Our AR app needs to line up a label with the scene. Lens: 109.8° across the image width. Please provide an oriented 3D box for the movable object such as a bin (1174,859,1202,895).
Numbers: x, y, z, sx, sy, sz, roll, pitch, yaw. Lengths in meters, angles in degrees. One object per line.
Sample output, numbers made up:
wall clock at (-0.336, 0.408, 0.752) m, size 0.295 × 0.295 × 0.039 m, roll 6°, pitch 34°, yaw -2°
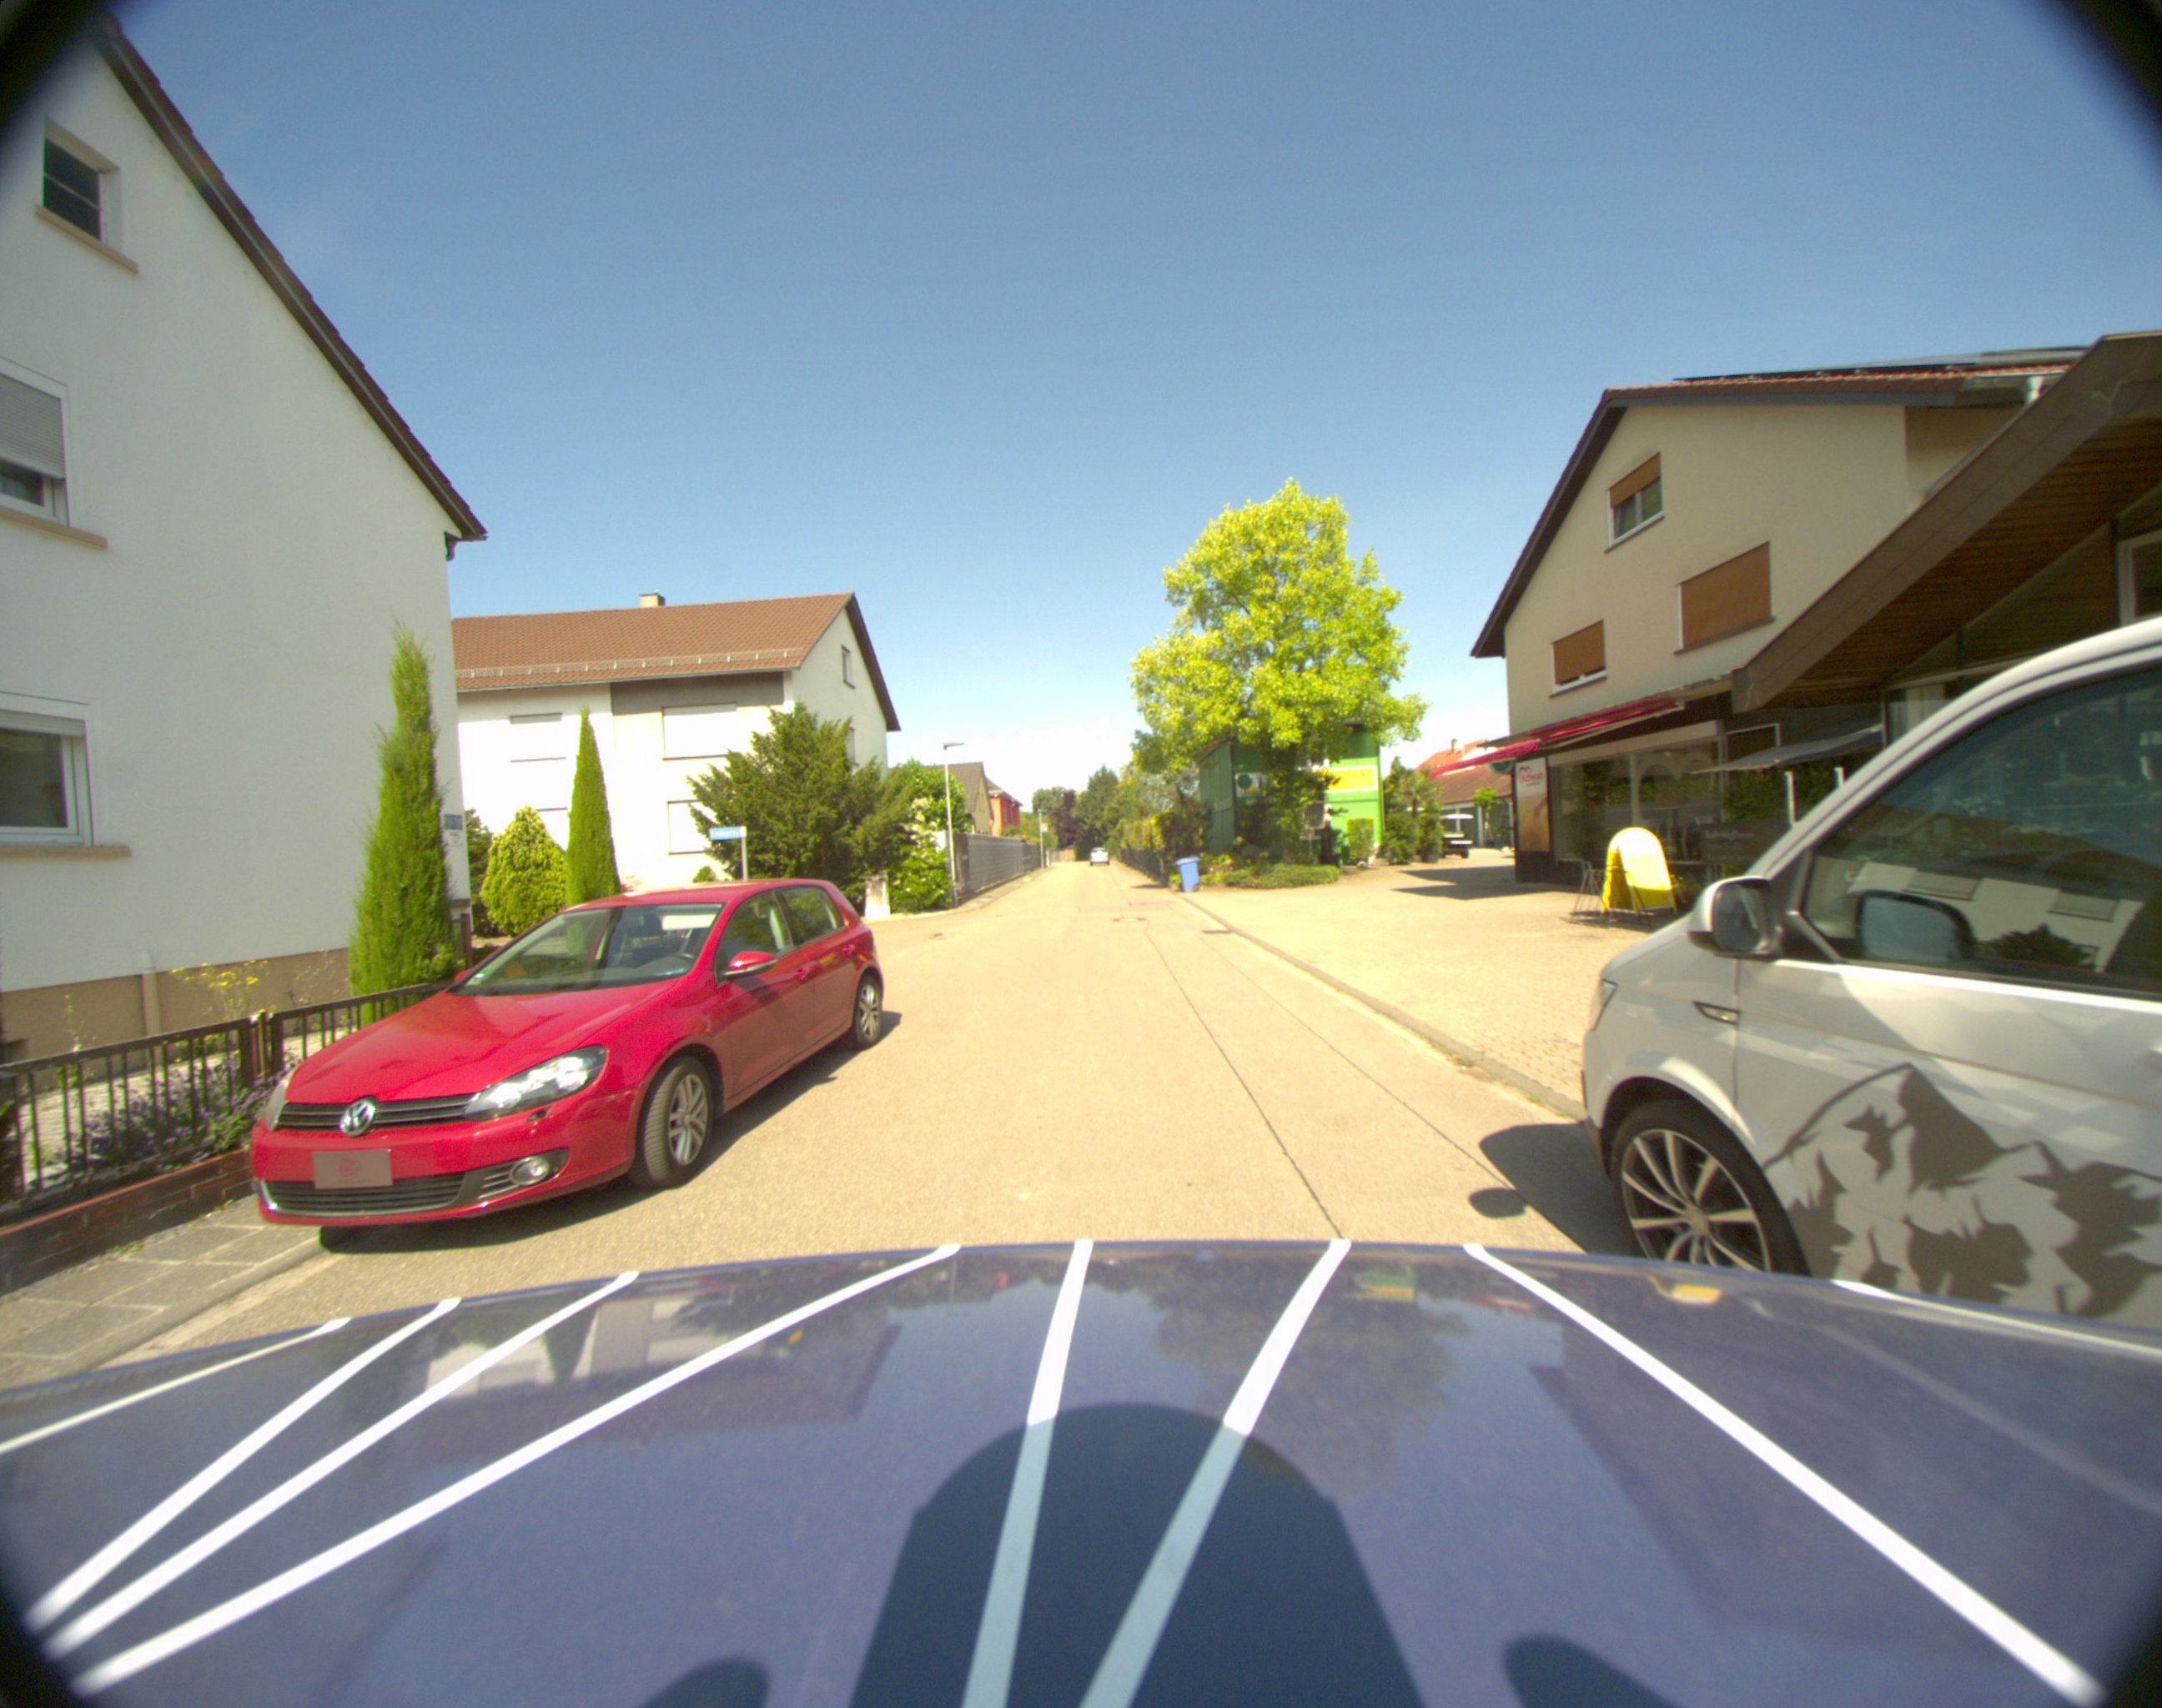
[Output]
movable object such as a bin at (3.433, 0.729, 24.379) m, size 0.732 × 1.048 × 0.612 m, roll -5°, pitch 1°, yaw 1°

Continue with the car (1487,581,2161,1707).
car at (2.540, 0.558, 0.605) m, size 1.933 × 2.002 × 4.896 m, roll -3°, pitch 1°, yaw 3°

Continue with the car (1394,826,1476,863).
car at (16.096, -0.466, 34.763) m, size 1.861 × 1.439 × 3.999 m, roll -5°, pitch 2°, yaw 2°

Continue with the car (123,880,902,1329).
car at (-2.744, 1.087, 4.998) m, size 1.779 × 1.471 × 4.001 m, roll -5°, pitch 1°, yaw 5°

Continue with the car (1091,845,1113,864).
car at (1.785, 0.030, 65.557) m, size 1.757 × 1.478 × 4.375 m, roll -3°, pitch 1°, yaw 1°
